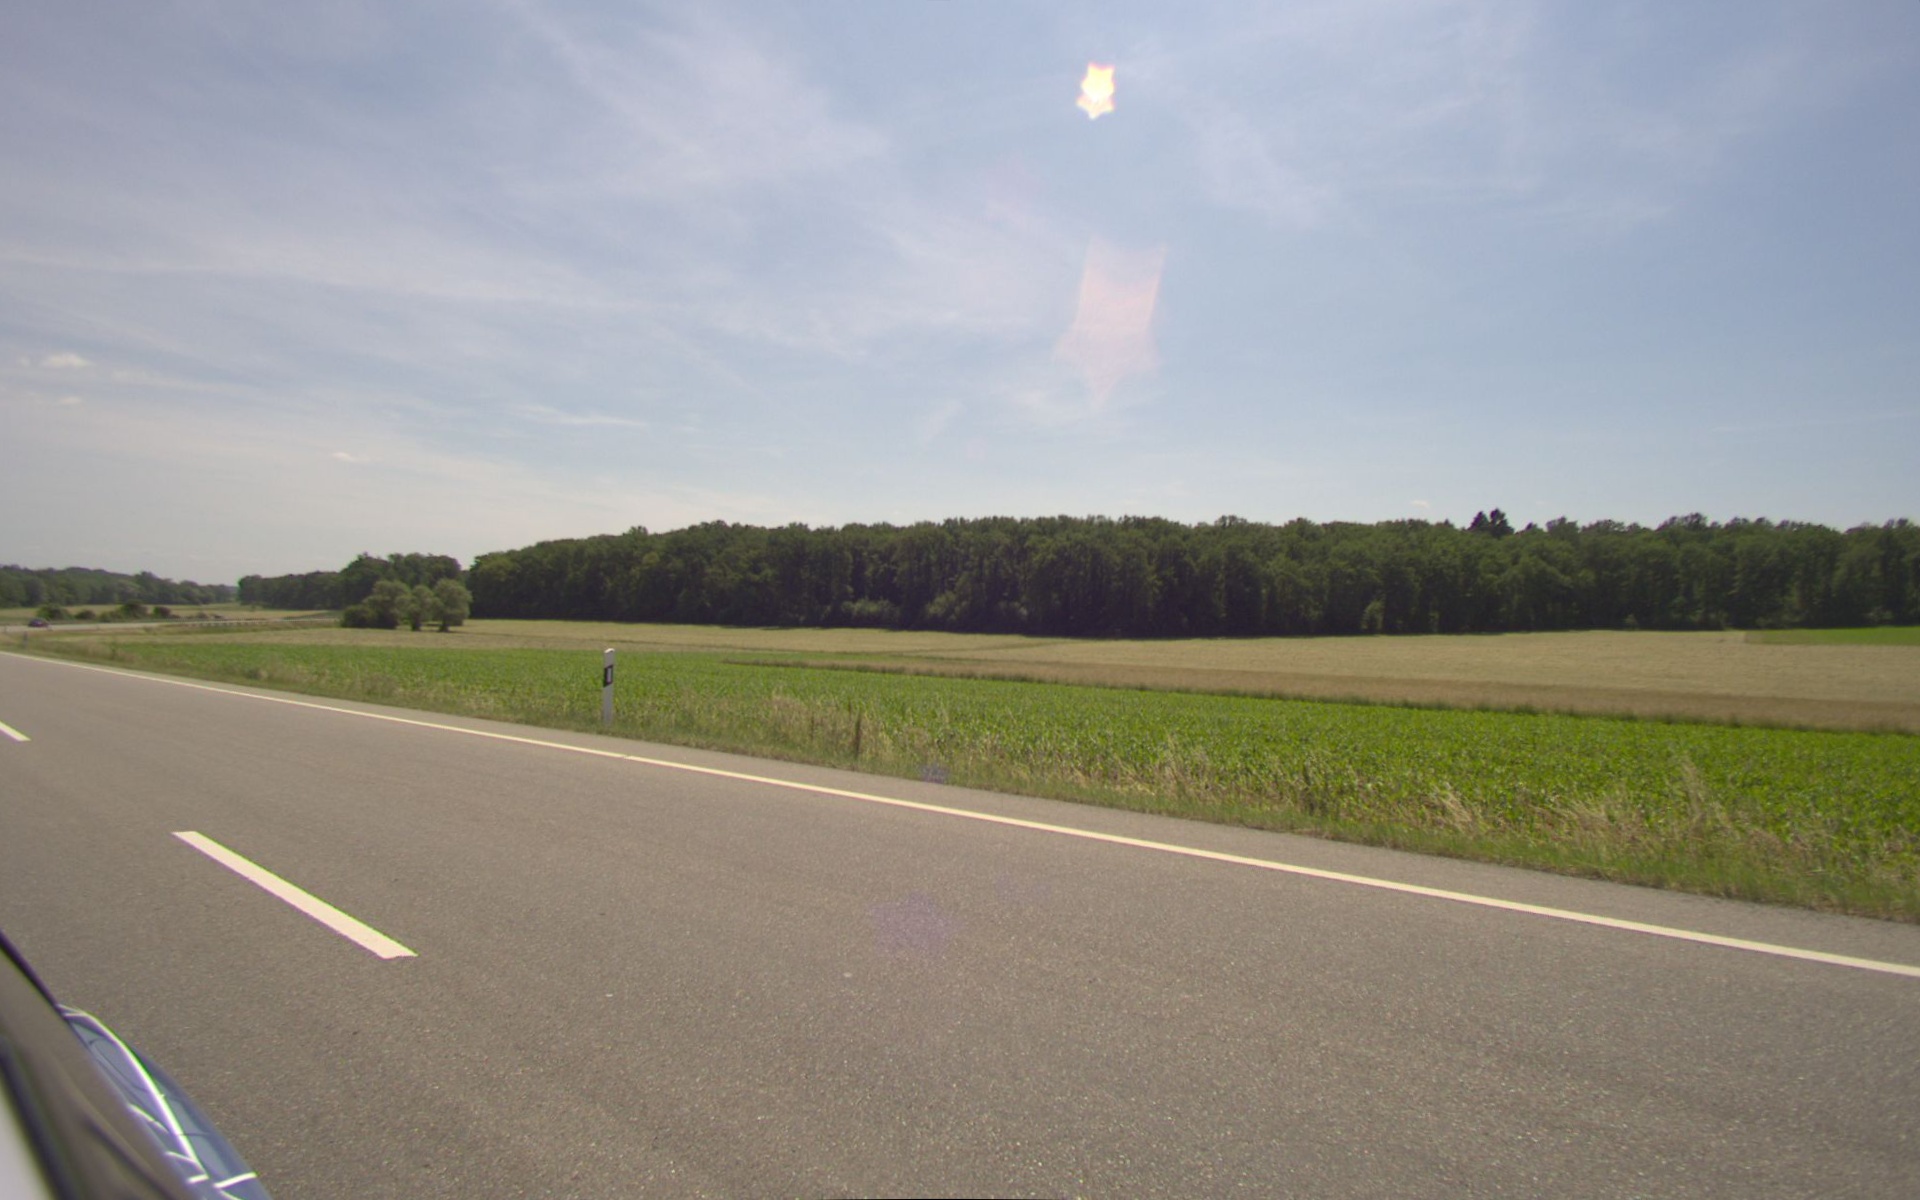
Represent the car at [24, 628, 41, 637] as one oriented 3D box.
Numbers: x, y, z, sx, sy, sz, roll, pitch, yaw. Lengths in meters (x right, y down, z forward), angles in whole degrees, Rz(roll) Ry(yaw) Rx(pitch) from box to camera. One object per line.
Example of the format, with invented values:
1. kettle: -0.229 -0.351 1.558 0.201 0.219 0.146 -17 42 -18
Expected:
1. car: -152.938 5.370 166.908 1.596 1.447 3.452 -1 0 -34
